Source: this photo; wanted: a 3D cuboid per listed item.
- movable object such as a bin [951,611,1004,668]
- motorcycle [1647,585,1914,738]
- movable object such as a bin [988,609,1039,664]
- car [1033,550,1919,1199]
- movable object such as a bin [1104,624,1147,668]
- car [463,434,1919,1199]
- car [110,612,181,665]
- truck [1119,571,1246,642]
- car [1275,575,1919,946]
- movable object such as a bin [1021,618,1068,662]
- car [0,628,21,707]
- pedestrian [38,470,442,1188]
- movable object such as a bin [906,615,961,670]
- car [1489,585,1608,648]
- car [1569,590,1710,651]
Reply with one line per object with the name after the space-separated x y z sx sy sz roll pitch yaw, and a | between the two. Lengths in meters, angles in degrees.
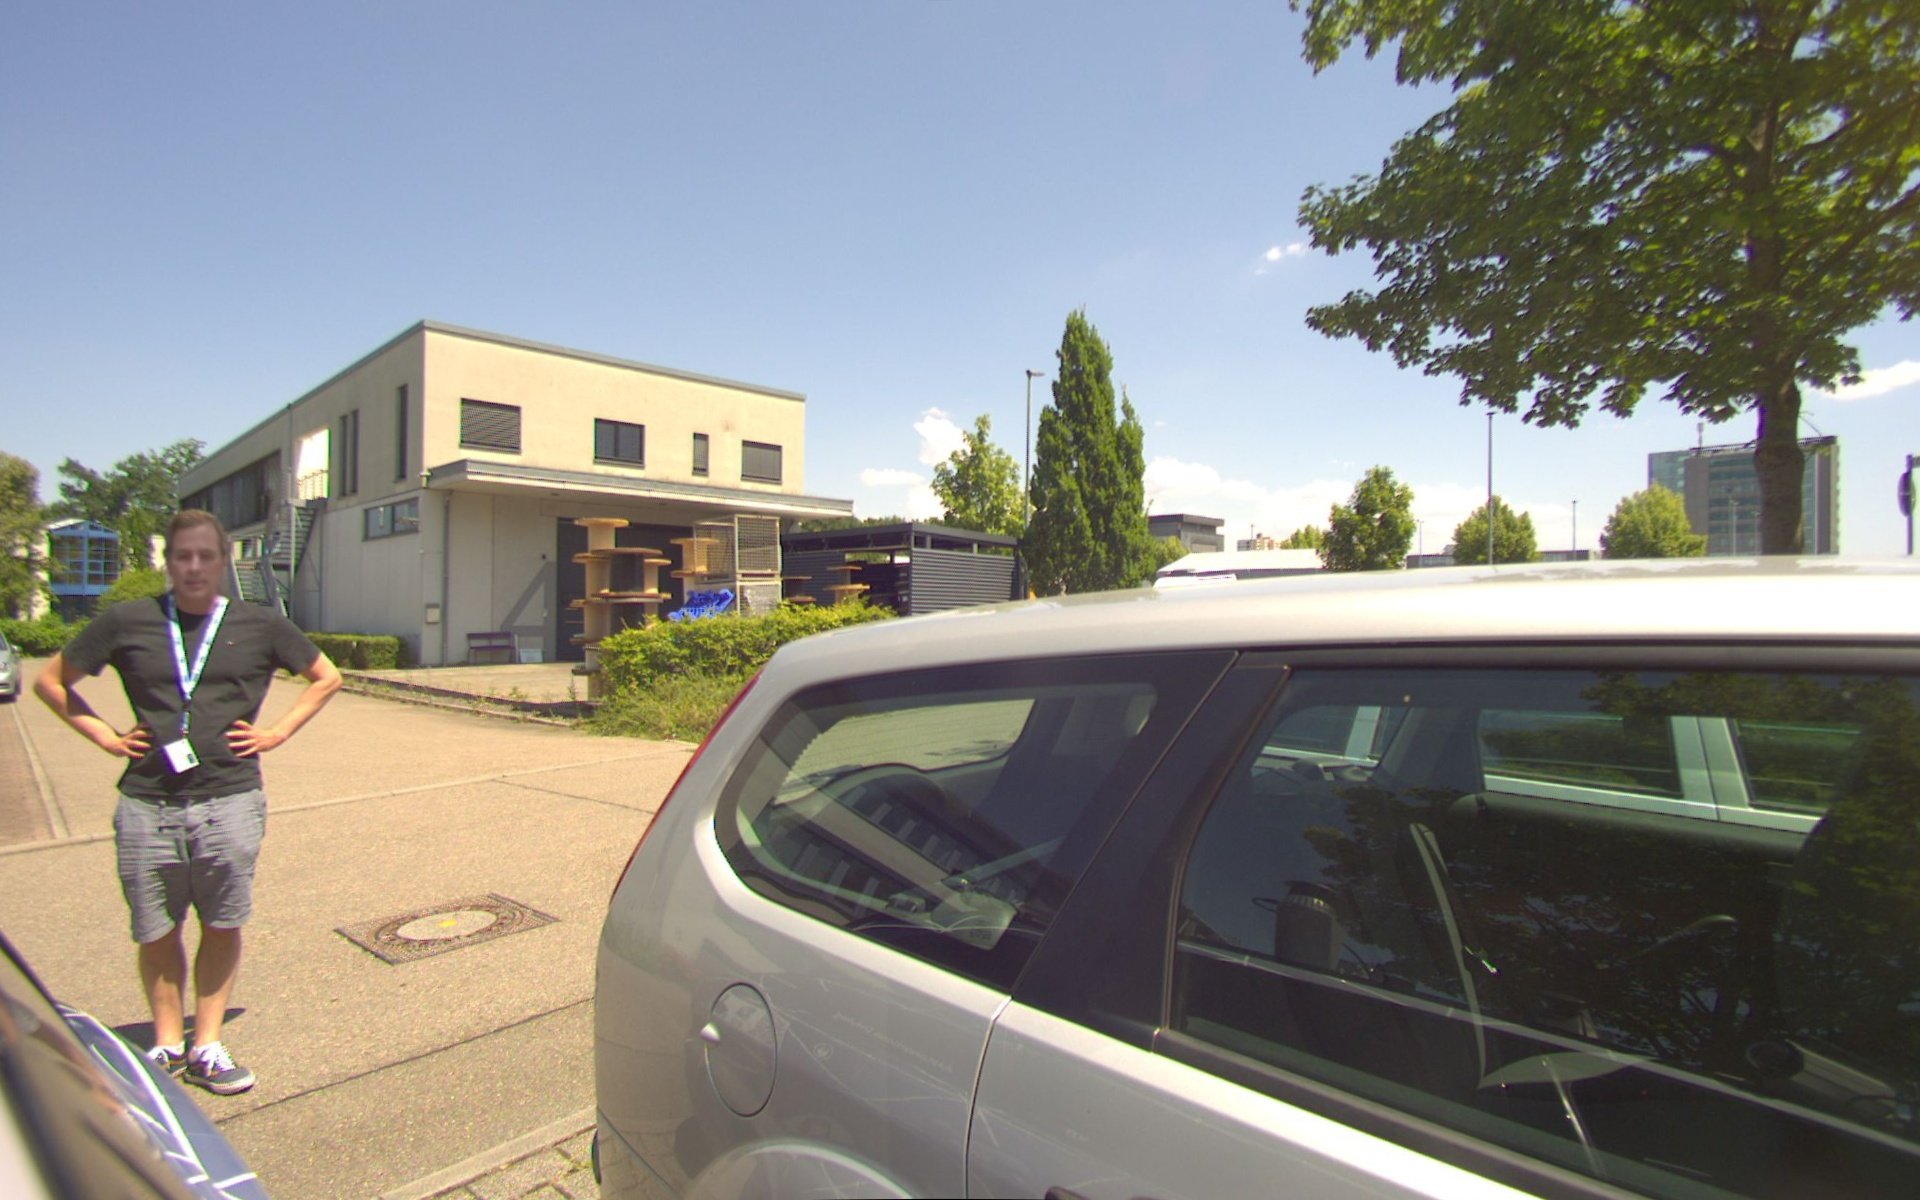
0.441 0.963 25.099 1.056 1.346 0.761 -1 -1 -40 | movable object such as a bin
8.062 0.584 10.059 1.986 1.400 0.478 -2 -1 38 | motorcycle
1.382 0.928 26.044 1.056 1.346 0.761 -1 -1 -40 | movable object such as a bin
2.297 0.638 3.095 3.886 1.490 1.632 -1 -1 38 | car
3.773 1.036 23.083 0.581 0.977 0.761 -1 -1 -40 | movable object such as a bin
1.347 0.643 0.974 4.346 1.490 1.702 -1 -1 41 | car
-30.030 1.372 37.258 1.761 1.817 4.004 -1 0 -43 | car
9.219 0.254 41.605 5.614 2.692 2.420 -1 -1 -45 | truck
3.770 0.637 5.025 3.886 1.459 1.632 -1 -1 38 | car
2.235 1.044 26.725 0.972 1.092 0.761 -1 -1 -40 | movable object such as a bin
-19.045 1.248 19.177 1.686 1.402 3.816 1 -1 -41 | car
-2.281 0.589 3.212 0.904 1.834 0.849 -2 -1 41 | pedestrian
-0.637 1.006 24.322 1.056 1.280 0.761 -1 -1 -40 | movable object such as a bin
17.431 0.452 29.910 3.936 1.751 1.776 -1 0 -39 | car
18.626 0.530 27.698 3.932 1.533 1.658 -1 0 -31 | car
